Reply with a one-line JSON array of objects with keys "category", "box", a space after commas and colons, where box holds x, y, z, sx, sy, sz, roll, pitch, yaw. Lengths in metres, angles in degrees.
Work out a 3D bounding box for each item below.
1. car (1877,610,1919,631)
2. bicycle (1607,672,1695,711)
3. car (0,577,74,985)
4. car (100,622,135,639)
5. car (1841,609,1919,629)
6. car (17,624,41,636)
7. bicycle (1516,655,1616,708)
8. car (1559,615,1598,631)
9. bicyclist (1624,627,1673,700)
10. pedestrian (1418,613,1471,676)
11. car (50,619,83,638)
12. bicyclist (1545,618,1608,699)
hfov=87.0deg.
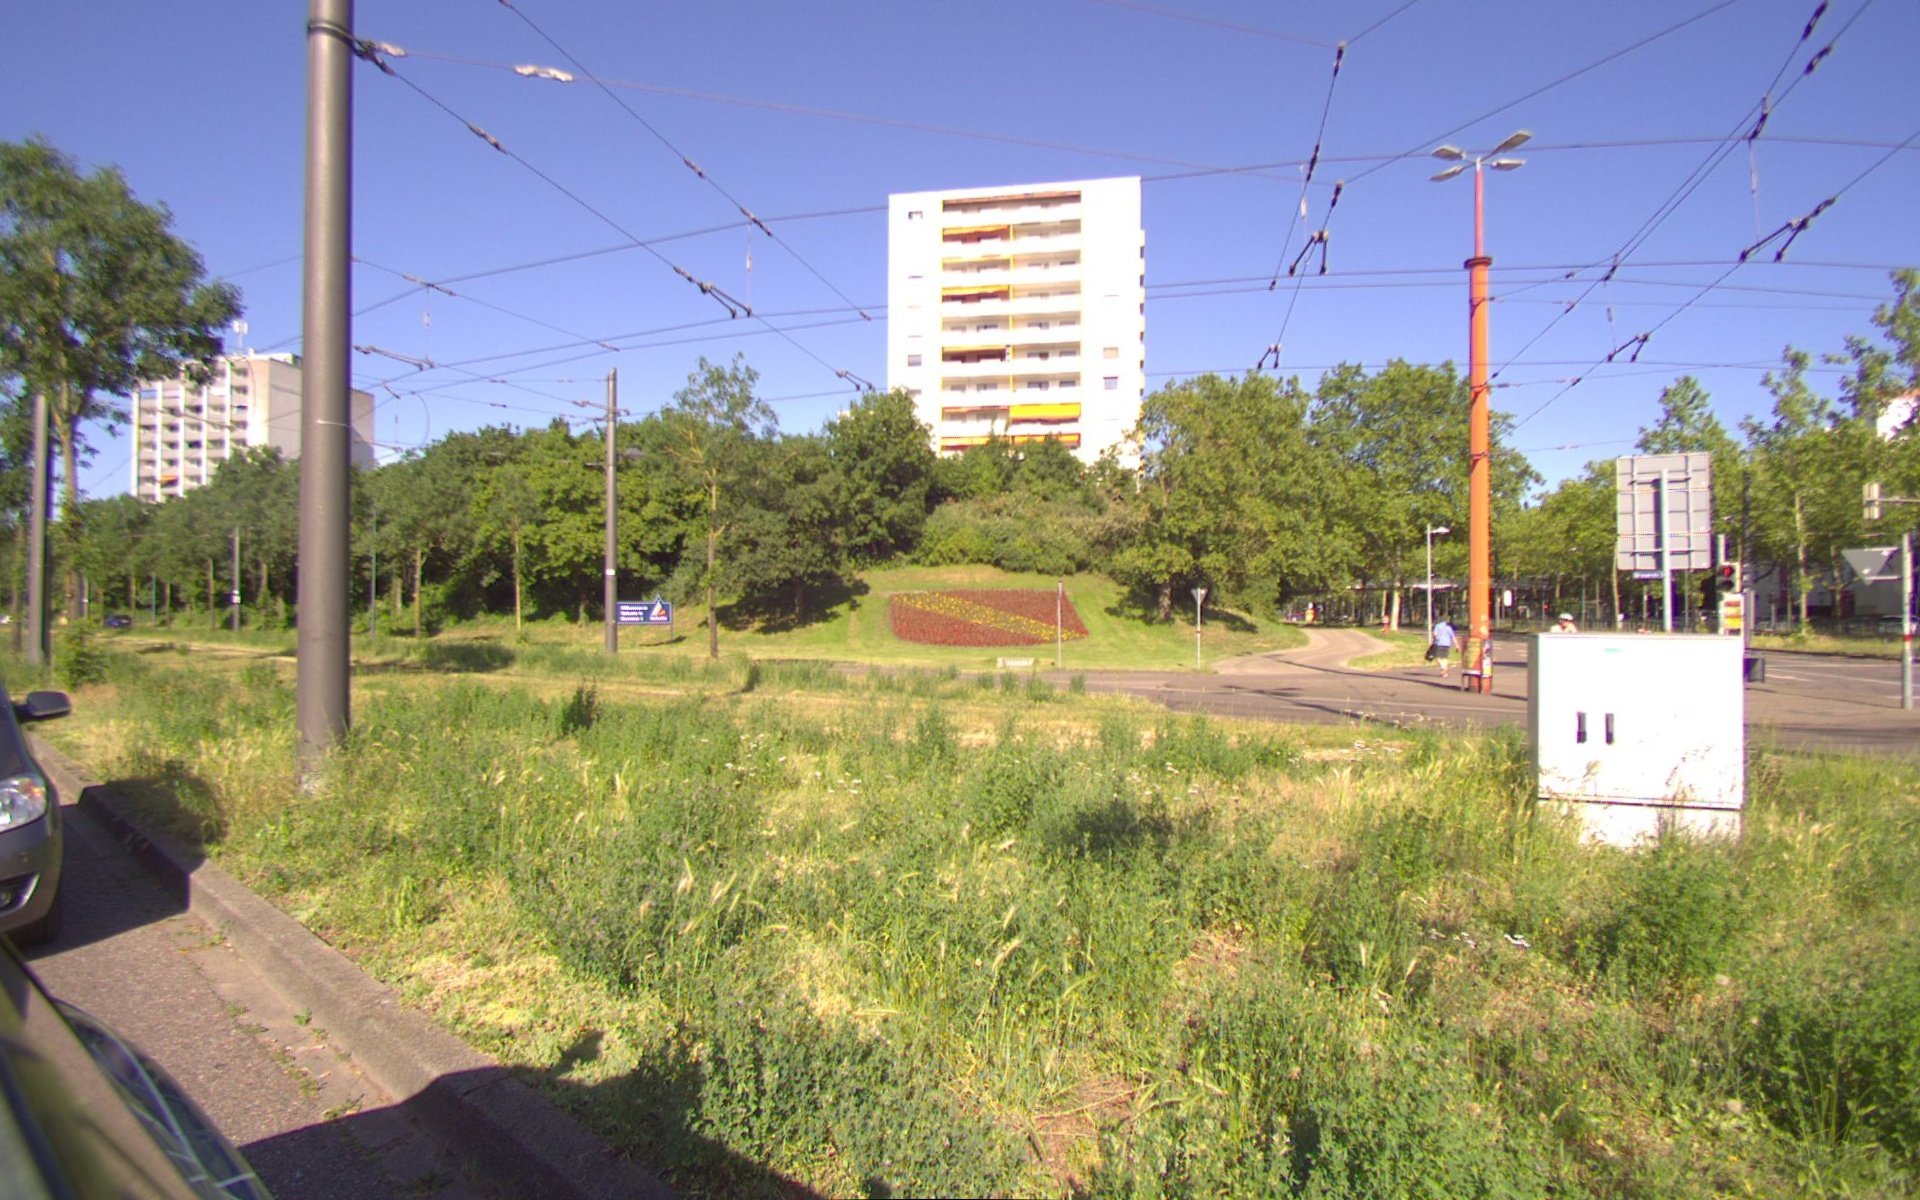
[{"category": "car", "box": [64.888, 1.397, 68.403, 1.770, 1.420, 4.010, 1, -1, -36]}, {"category": "bicycle", "box": [13.392, 1.761, 19.656, 0.427, 0.665, 1.426, 0, -1, -18]}, {"category": "car", "box": [-5.735, 0.748, 4.845, 3.879, 1.634, 1.737, -1, -2, 41]}, {"category": "car", "box": [-79.721, 2.835, 95.773, 4.105, 1.586, 1.972, -1, -2, 41]}, {"category": "car", "box": [65.876, 1.376, 72.385, 1.770, 1.420, 4.010, 1, -1, -36]}, {"category": "car", "box": [-109.436, 3.471, 118.967, 4.000, 1.386, 1.756, -1, -2, 43]}, {"category": "bicycle", "box": [12.117, 1.612, 20.279, 0.673, 0.968, 1.650, 0, -1, -20]}, {"category": "car", "box": [79.729, 2.991, 130.486, 3.969, 2.029, 1.987, -1, -1, 20]}, {"category": "bicyclist", "box": [13.358, 1.217, 19.636, 0.435, 1.391, 0.631, 0, -2, -20]}, {"category": "pedestrian", "box": [14.106, 1.280, 29.467, 0.939, 1.807, 0.991, 0, -1, -15]}, {"category": "car", "box": [-93.448, 2.986, 105.852, 4.904, 1.981, 1.973, -1, -2, 41]}, {"category": "bicyclist", "box": [12.233, 1.146, 20.085, 0.719, 1.557, 0.770, 0, -2, -20]}]
